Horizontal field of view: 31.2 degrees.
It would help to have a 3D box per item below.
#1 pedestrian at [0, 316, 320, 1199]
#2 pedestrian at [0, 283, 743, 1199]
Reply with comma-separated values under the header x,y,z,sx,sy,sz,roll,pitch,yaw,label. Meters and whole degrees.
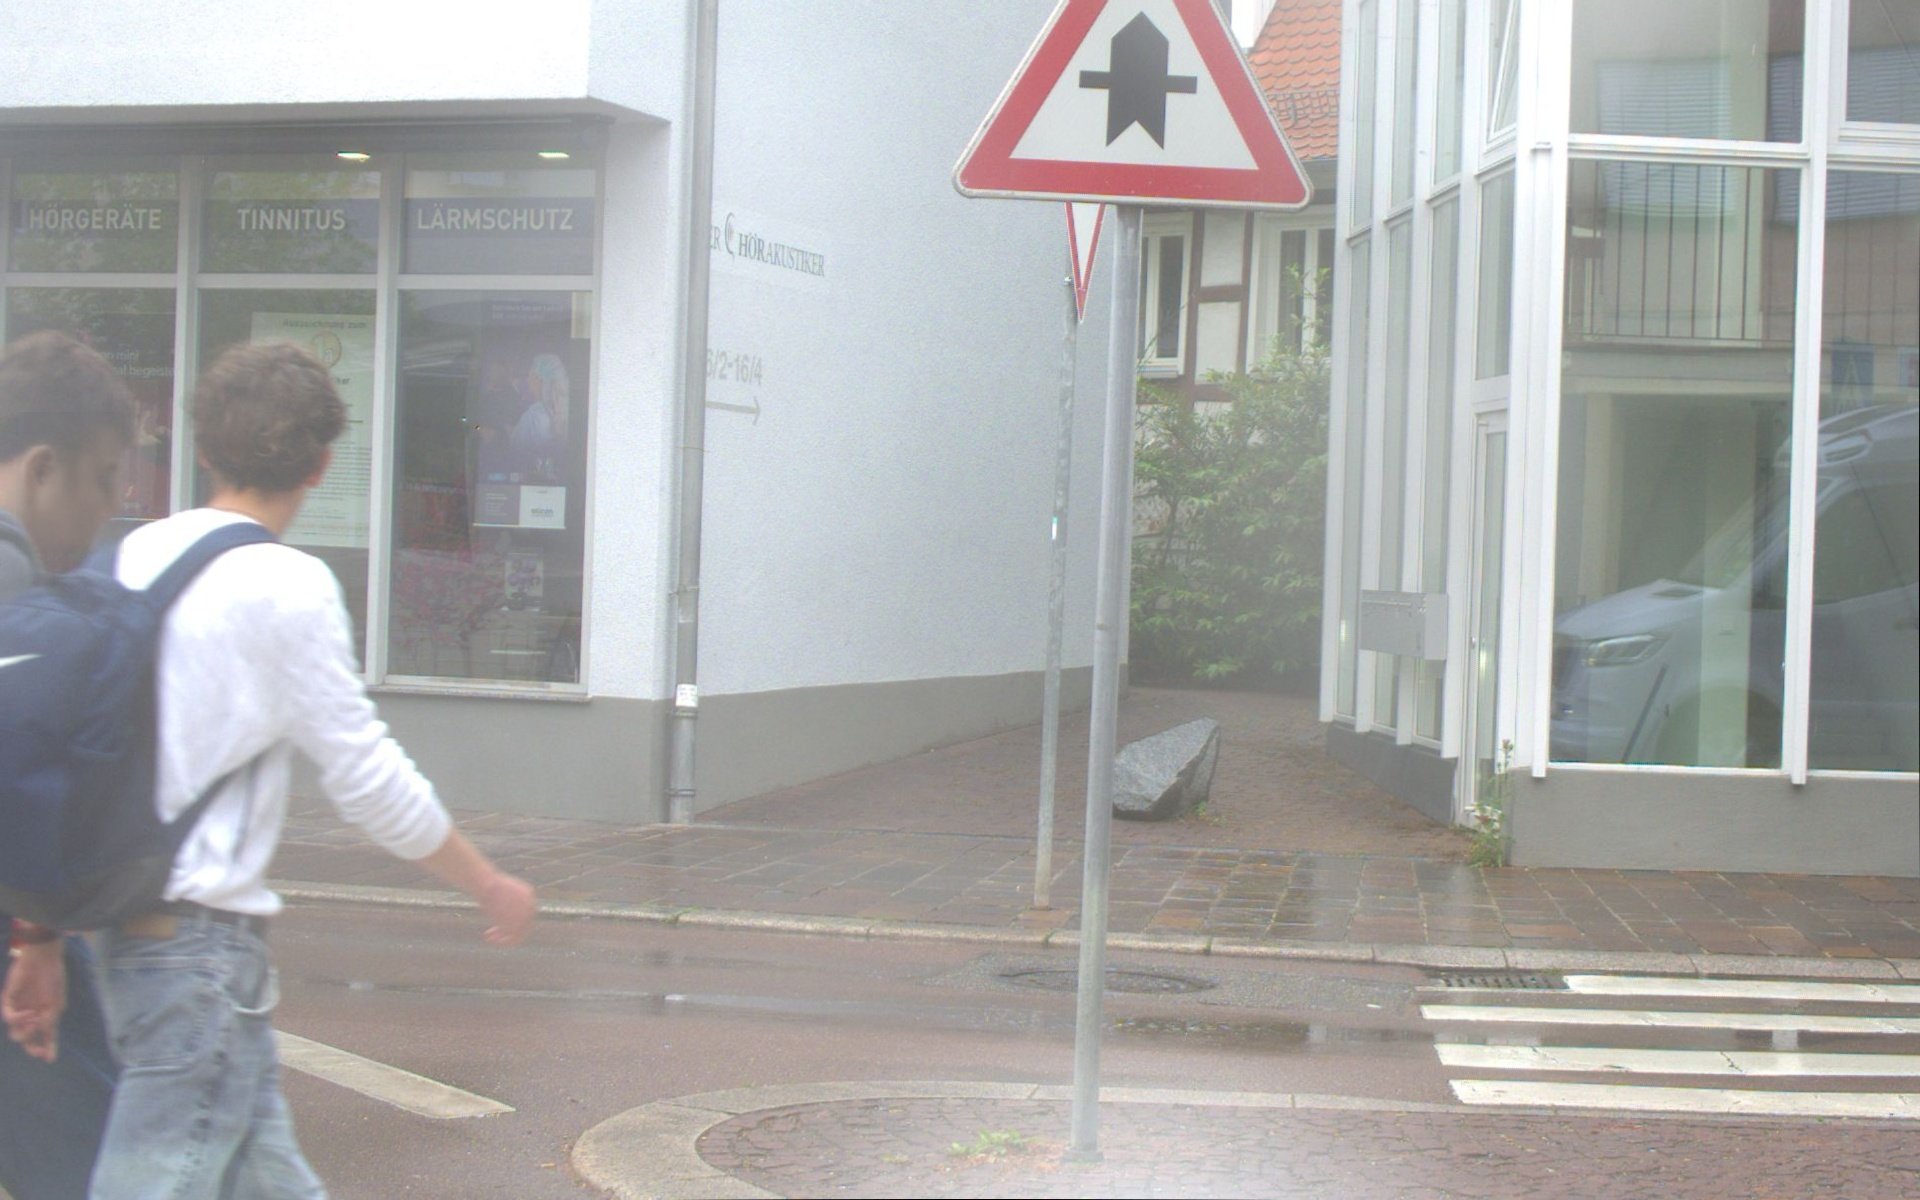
x,y,z,sx,sy,sz,roll,pitch,yaw,label
-1.609,0.487,5.143,0.693,1.794,1.056,2,0,35,pedestrian
-0.918,0.519,4.715,0.665,1.800,1.059,2,1,37,pedestrian
